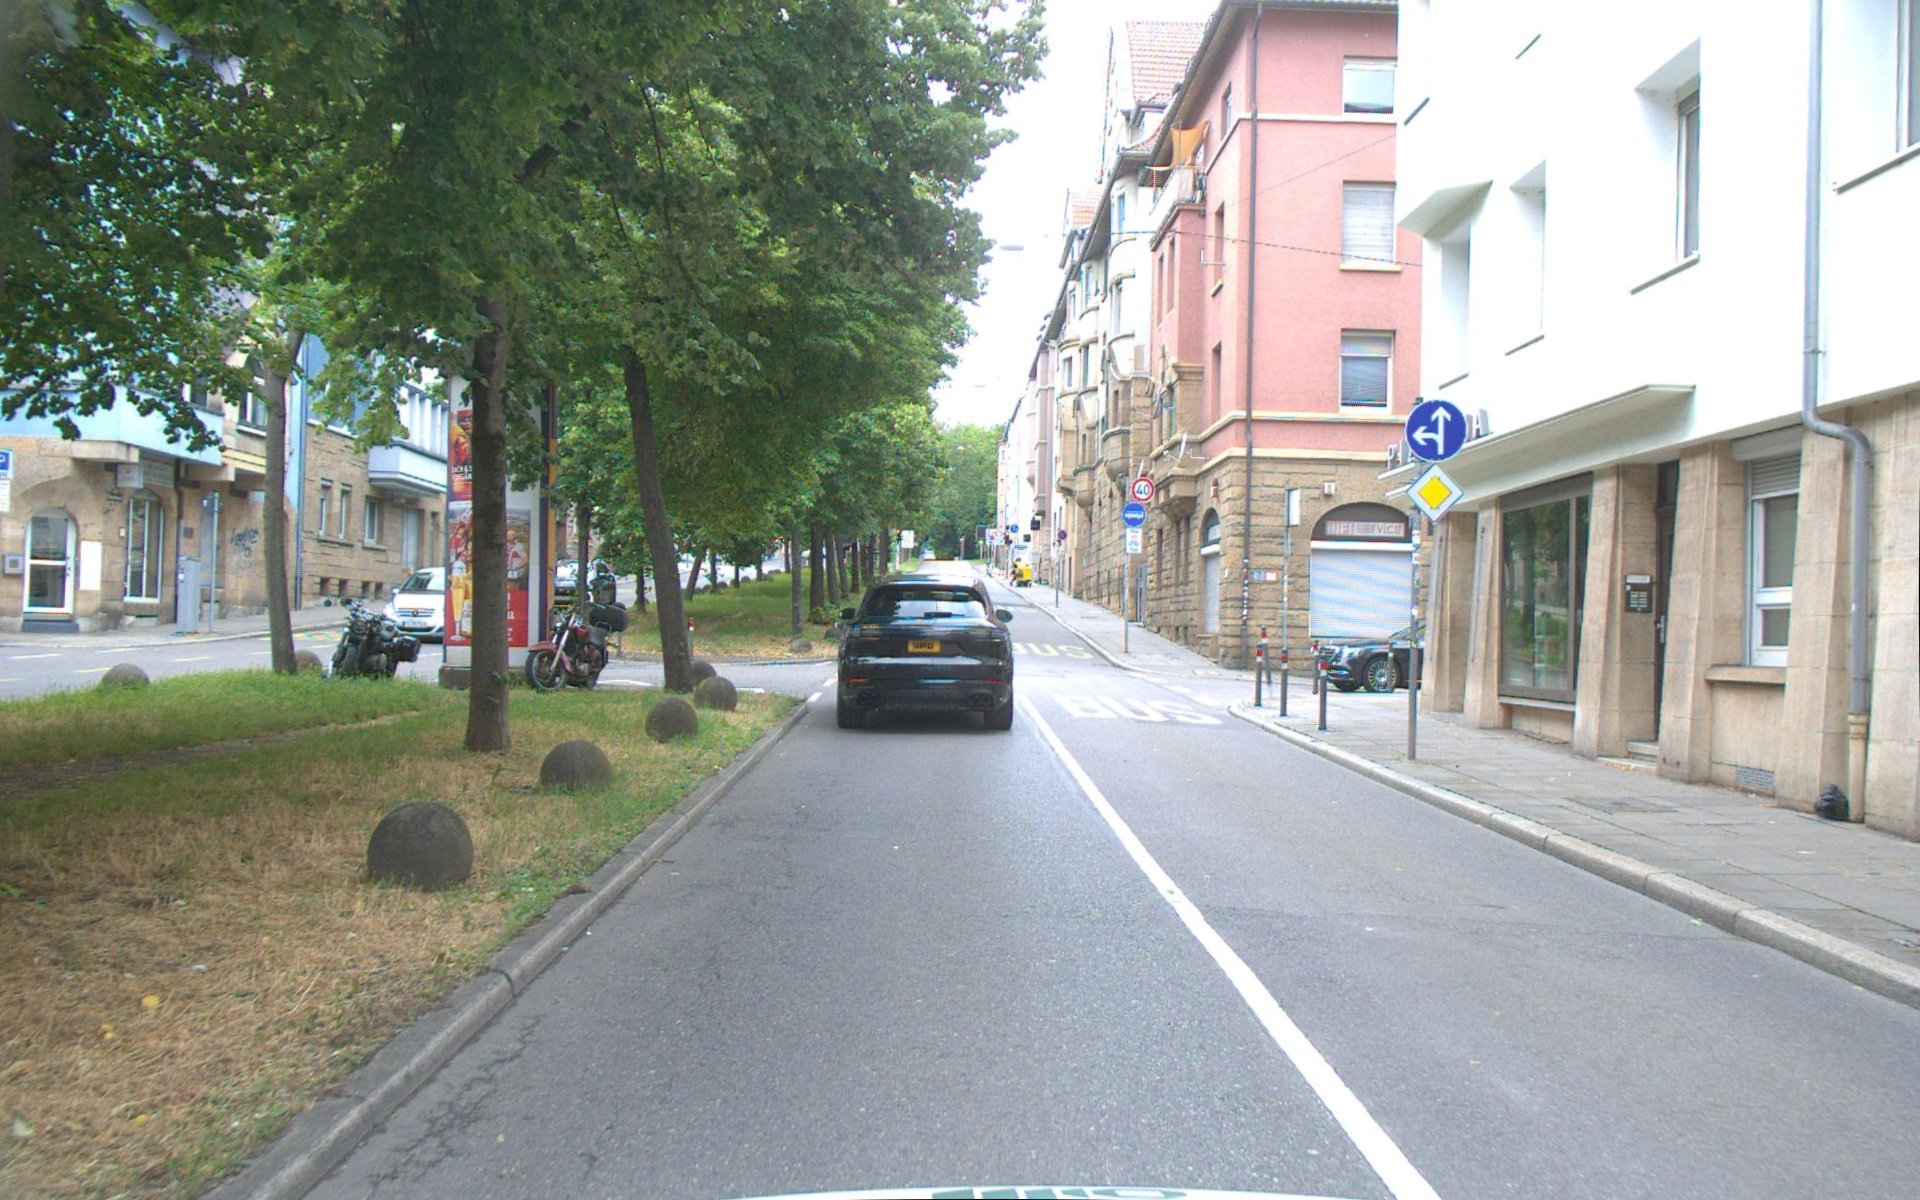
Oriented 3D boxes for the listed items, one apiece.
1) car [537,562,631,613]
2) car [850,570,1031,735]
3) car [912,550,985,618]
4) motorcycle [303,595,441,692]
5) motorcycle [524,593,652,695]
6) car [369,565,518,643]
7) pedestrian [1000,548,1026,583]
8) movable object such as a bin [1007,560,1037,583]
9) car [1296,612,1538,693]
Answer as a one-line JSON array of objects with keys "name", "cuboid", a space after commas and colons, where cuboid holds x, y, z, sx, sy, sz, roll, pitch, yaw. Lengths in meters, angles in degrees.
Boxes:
[{"name": "car", "cuboid": [-11.780, -0.410, 52.066, 1.953, 1.509, 4.531, 1, 1, -1]}, {"name": "car", "cuboid": [-0.285, 0.537, 19.377, 1.865, 1.695, 4.134, 1, 0, -2]}, {"name": "car", "cuboid": [-0.326, -0.442, 46.558, 1.953, 1.784, 4.000, 1, 0, -1]}, {"name": "motorcycle", "cuboid": [-7.182, 0.528, 20.332, 0.882, 1.126, 2.251, 0, -1, 0]}, {"name": "motorcycle", "cuboid": [-4.567, 0.504, 20.508, 1.041, 1.168, 2.448, 0, 0, 0]}, {"name": "car", "cuboid": [-11.804, 0.063, 38.156, 1.953, 1.652, 4.815, 1, 1, -1]}, {"name": "pedestrian", "cuboid": [3.176, -2.071, 98.592, 1.280, 2.049, 1.015, 1, 0, -17]}, {"name": "movable object such as a bin", "cuboid": [3.626, -1.691, 97.215, 1.217, 1.296, 1.838, 1, 0, -17]}, {"name": "car", "cuboid": [8.503, 0.949, 30.890, 3.923, 1.400, 1.991, 0, 0, -17]}]
